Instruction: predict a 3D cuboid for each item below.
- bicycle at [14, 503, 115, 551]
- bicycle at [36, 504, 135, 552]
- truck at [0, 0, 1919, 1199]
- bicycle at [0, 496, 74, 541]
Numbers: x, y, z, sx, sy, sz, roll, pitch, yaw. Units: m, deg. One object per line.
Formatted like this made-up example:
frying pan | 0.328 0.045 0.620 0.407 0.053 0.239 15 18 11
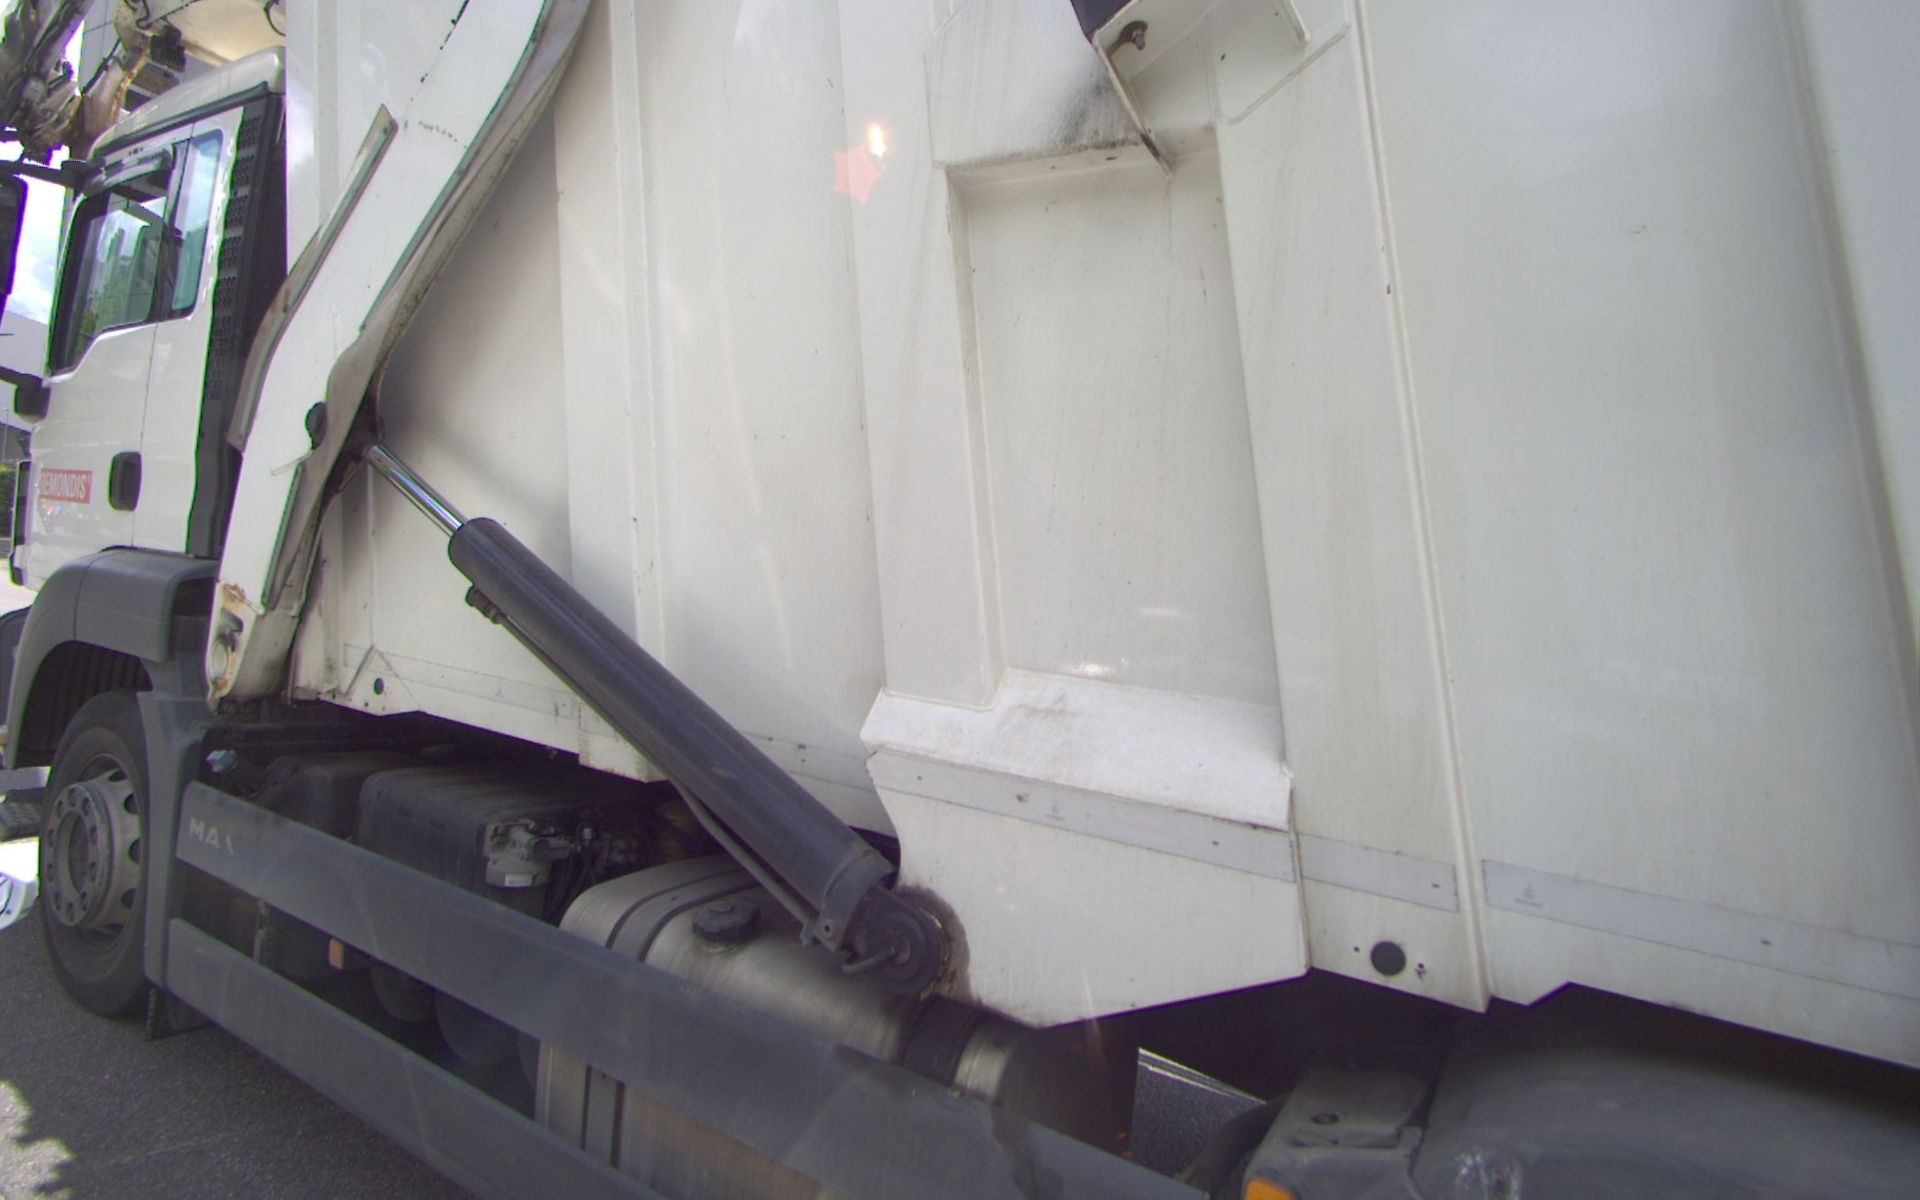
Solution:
bicycle | -27.782 -2.248 31.253 2.197 1.099 0.474 8 -1 -23
bicycle | -26.935 -2.206 31.035 2.166 1.099 0.474 8 -1 -23
truck | 1.154 -0.250 2.101 10.003 3.958 2.494 6 -2 31
bicycle | -29.266 -2.575 31.473 2.197 1.099 0.474 8 -1 -23
